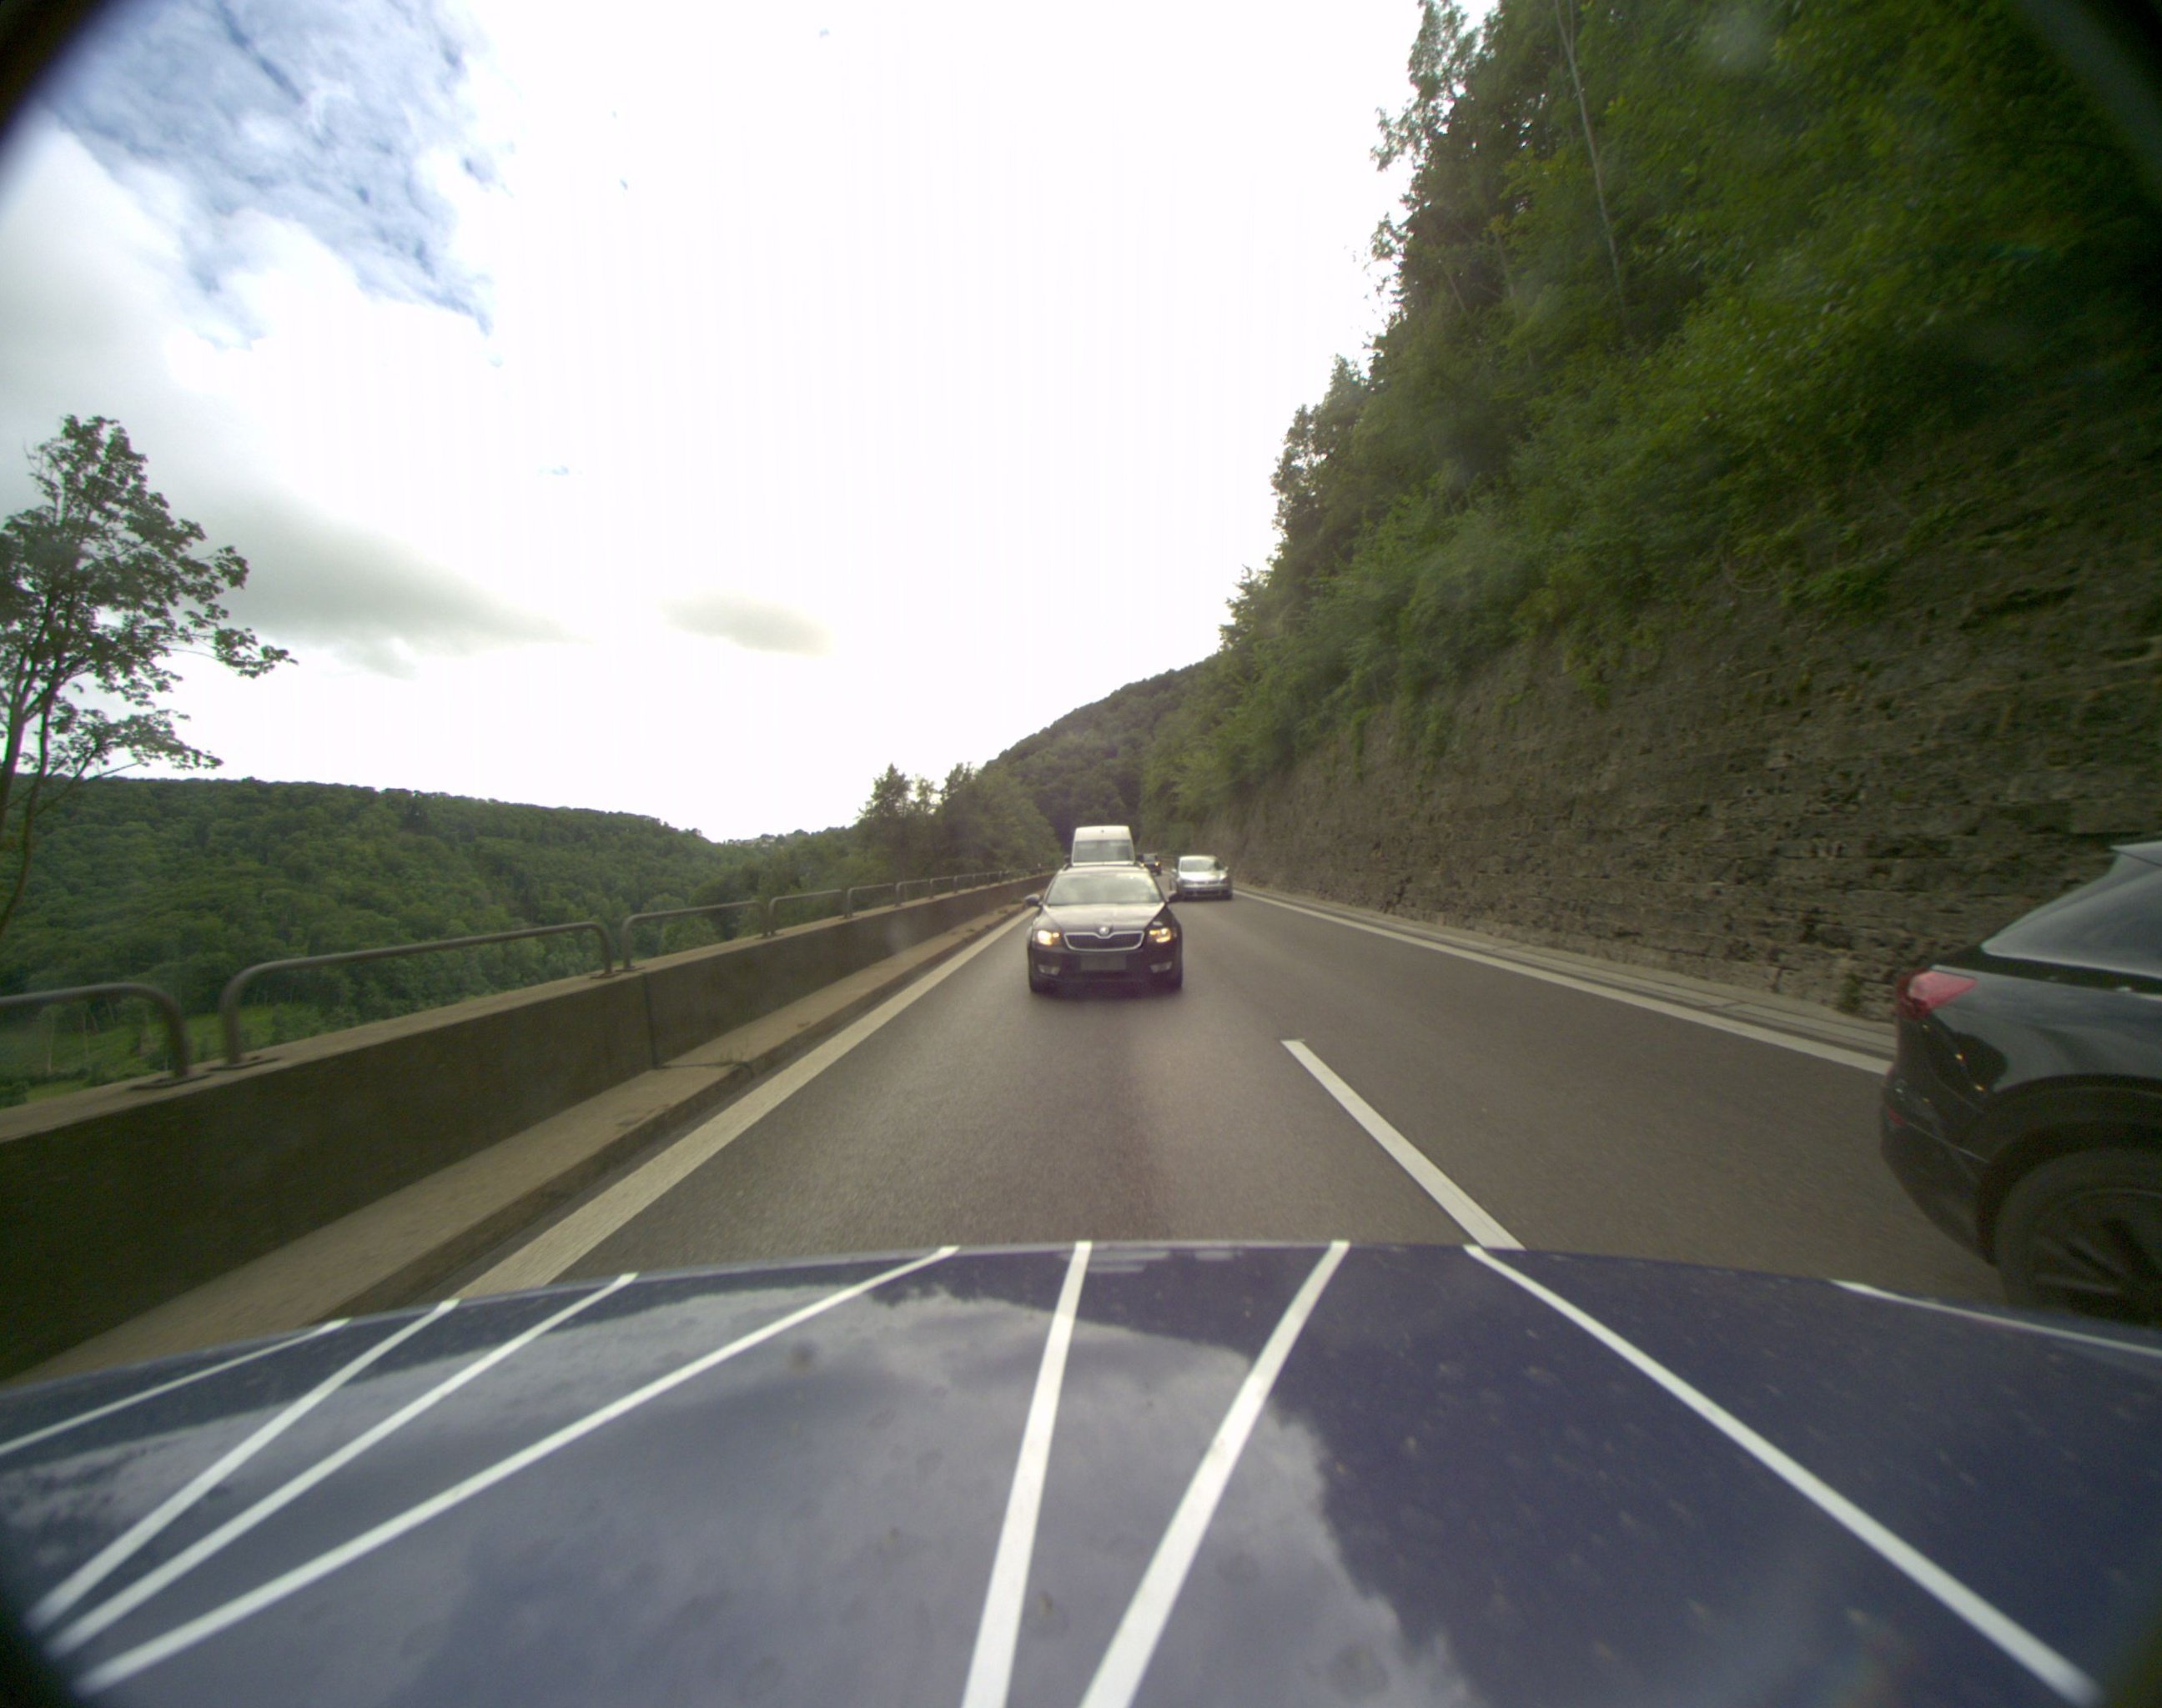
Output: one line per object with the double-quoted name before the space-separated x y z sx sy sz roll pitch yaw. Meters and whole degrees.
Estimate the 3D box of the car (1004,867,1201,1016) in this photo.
"car" 0.313 0.954 10.370 1.998 1.389 5.009 -2 0 2

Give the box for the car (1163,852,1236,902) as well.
"car" 3.963 0.713 26.099 1.685 1.506 4.583 -3 0 -1

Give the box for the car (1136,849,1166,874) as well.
"car" 5.155 0.536 56.463 1.813 1.646 4.583 -3 0 1

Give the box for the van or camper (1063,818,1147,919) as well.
"van or camper" 0.776 0.370 23.244 2.081 2.575 5.912 -4 0 3
